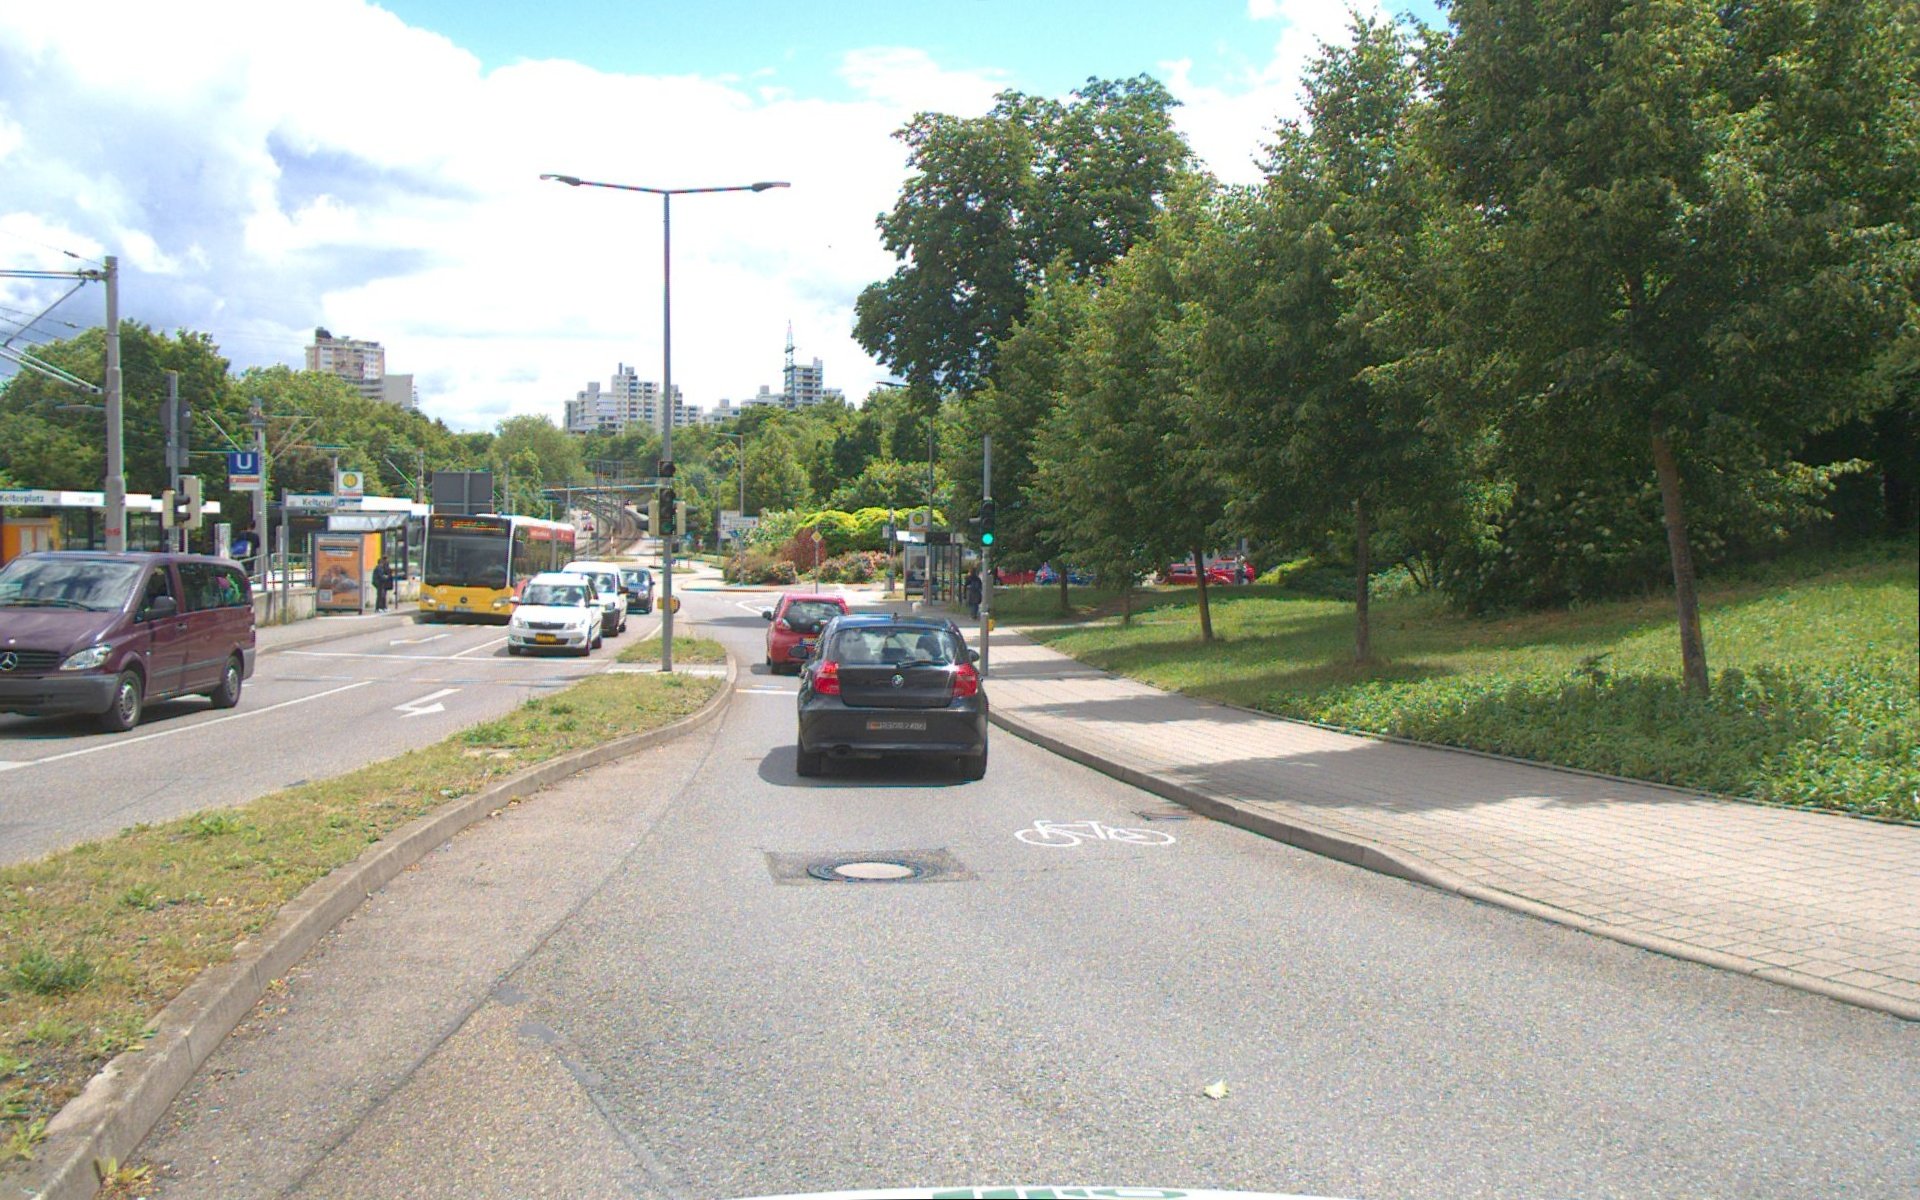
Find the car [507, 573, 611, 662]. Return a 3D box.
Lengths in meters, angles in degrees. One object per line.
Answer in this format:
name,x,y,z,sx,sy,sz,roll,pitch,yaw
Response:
car,-8.416,0.326,34.984,1.667,1.677,4.072,1,2,-7

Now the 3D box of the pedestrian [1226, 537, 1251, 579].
pedestrian,12.078,-1.817,71.661,0.965,1.791,0.858,0,1,2

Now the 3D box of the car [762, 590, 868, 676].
car,-2.818,0.586,31.541,1.733,1.457,3.471,-1,2,-10

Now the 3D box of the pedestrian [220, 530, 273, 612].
pedestrian,-18.076,-0.740,41.917,0.952,2.049,1.028,0,1,-5

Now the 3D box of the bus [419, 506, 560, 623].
bus,-13.956,-1.129,49.805,2.675,3.163,9.689,1,2,-8

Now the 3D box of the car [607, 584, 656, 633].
car,-11.602,0.275,58.510,1.501,1.578,3.725,2,1,-9

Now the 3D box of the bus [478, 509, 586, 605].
bus,-15.126,-1.654,59.044,2.675,3.122,8.951,1,3,-8

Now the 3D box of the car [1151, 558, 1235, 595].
car,11.328,-1.164,80.578,3.620,1.672,1.826,0,3,-11

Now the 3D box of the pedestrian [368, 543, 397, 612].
pedestrian,-17.352,-0.667,49.721,0.690,2.048,0.825,-1,1,-12

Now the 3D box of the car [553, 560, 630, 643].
car,-9.559,-0.015,43.182,1.730,1.690,4.499,-1,6,-10

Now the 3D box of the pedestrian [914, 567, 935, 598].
pedestrian,-1.434,-0.714,67.443,0.811,1.280,0.685,0,2,-6

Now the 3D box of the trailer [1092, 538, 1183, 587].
trailer,9.594,-2.034,89.801,4.454,2.529,2.217,0,3,-10

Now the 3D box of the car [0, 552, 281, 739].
car,-9.605,0.432,18.978,1.955,1.854,5.066,1,0,-6

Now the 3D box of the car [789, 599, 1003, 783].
car,-0.689,0.756,15.843,1.780,1.445,3.997,0,1,-5

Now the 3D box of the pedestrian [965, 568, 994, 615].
pedestrian,0.604,-0.268,51.234,0.804,1.449,0.828,0,1,-8

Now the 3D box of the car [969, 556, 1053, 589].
car,2.701,-1.478,88.276,4.085,1.588,1.994,0,4,-14

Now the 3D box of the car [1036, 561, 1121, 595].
car,5.696,-1.074,79.702,3.725,1.481,1.892,-1,3,-11

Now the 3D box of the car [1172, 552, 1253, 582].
car,13.816,-1.833,90.570,4.007,1.528,1.996,-1,3,-11
